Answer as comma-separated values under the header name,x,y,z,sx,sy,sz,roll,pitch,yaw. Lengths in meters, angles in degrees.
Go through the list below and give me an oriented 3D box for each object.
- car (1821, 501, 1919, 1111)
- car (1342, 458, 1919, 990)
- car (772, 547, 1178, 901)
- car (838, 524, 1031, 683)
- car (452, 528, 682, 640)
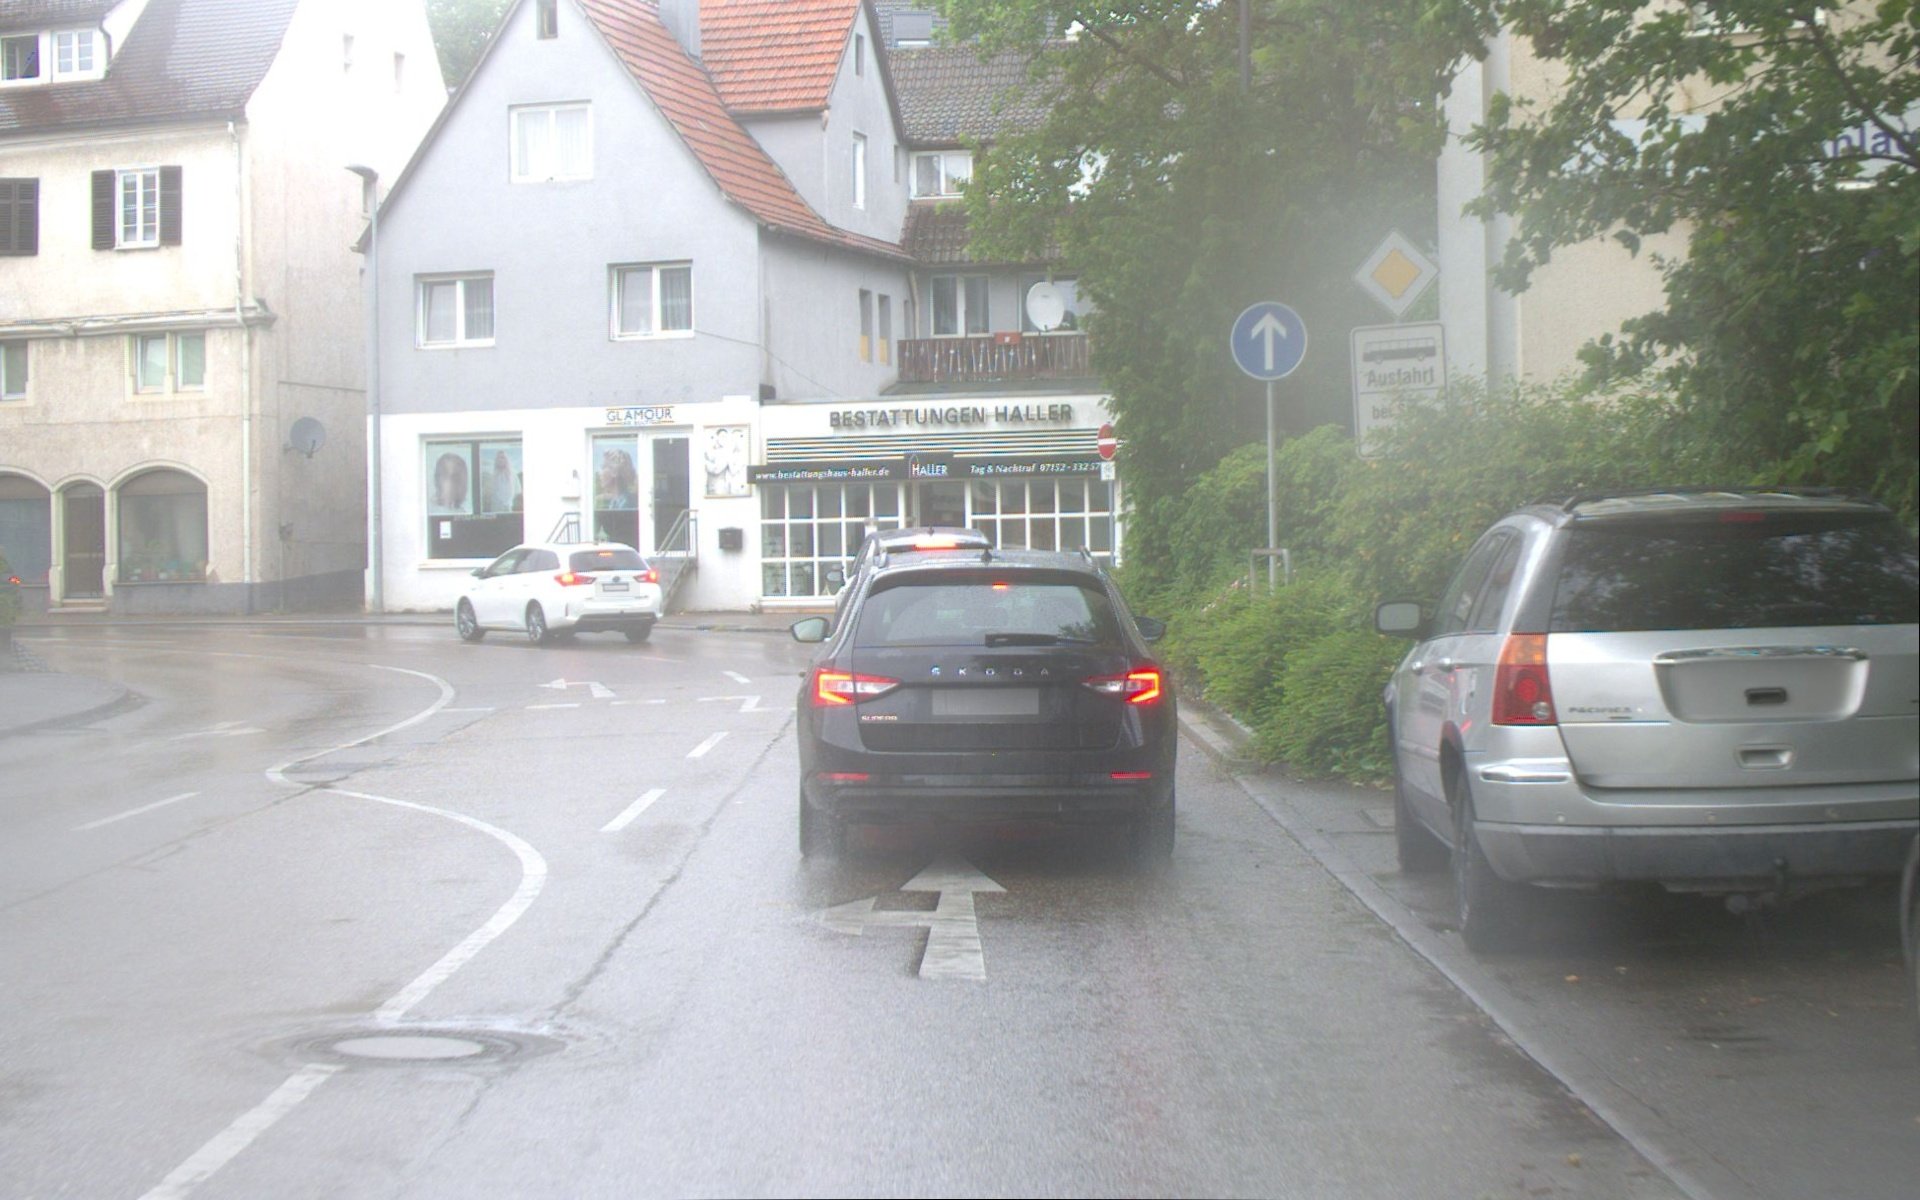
name,x,y,z,sx,sy,sz,roll,pitch,yaw
car,3.353,0.532,7.660,1.709,1.567,3.915,-2,1,-2
car,2.767,0.364,14.087,1.931,1.774,4.734,-2,1,1
car,-0.045,0.515,17.388,1.732,1.445,4.242,-1,2,-4
car,-0.219,-0.005,37.134,1.789,1.512,4.241,-2,2,3
car,-5.805,-0.272,50.398,1.785,1.460,4.164,-2,3,-30
